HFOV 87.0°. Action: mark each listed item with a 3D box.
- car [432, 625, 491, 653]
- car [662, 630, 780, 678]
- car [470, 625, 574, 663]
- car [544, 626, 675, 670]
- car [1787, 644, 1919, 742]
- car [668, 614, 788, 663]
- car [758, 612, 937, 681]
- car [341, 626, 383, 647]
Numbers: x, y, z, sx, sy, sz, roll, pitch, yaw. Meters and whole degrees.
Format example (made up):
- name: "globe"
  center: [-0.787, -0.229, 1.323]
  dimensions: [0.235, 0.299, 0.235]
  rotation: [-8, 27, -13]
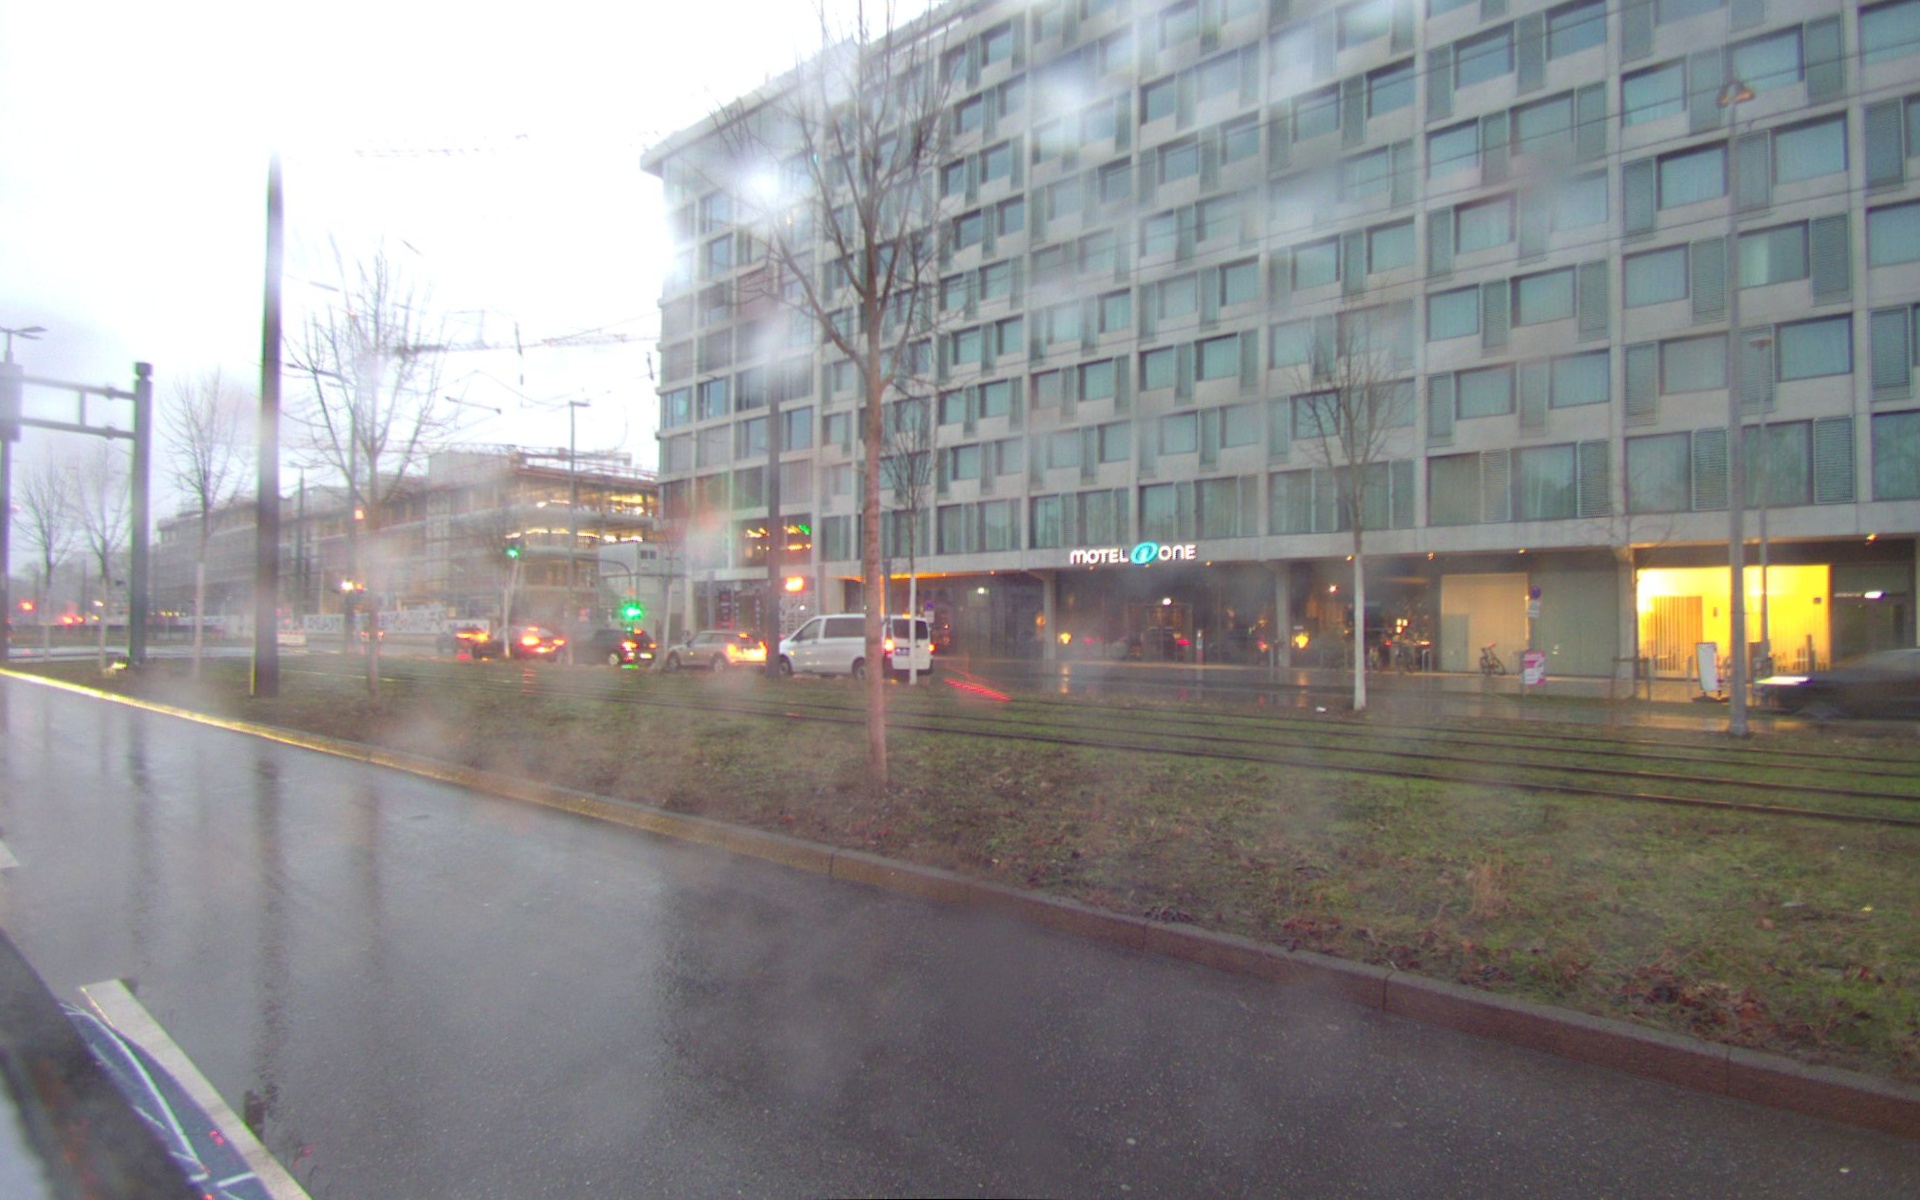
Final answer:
- name: "car"
  center: [-31.282, 2.419, 63.418]
  dimensions: [1.874, 1.732, 4.919]
  rotation: [2, -2, -44]
- name: "car"
  center: [-7.679, 1.693, 32.378]
  dimensions: [3.704, 1.442, 1.876]
  rotation: [-1, -3, 41]
- name: "car"
  center: [-17.919, 1.774, 41.319]
  dimensions: [5.032, 1.479, 1.972]
  rotation: [-2, -3, 42]
- name: "car"
  center: [-12.760, 1.722, 36.873]
  dimensions: [4.425, 1.508, 1.983]
  rotation: [-1, -2, 26]
- name: "car"
  center: [17.360, 1.609, 17.567]
  dimensions: [4.578, 1.646, 1.876]
  rotation: [-1, -2, 41]
- name: "car"
  center: [-8.754, 1.428, 37.957]
  dimensions: [4.914, 1.732, 1.876]
  rotation: [-1, -2, 41]
- name: "car"
  center: [-3.163, 1.237, 27.821]
  dimensions: [5.113, 1.732, 1.877]
  rotation: [-1, -2, 39]
- name: "car"
  center: [-49.787, 3.022, 84.206]
  dimensions: [1.874, 1.732, 4.920]
  rotation: [2, -2, -44]
